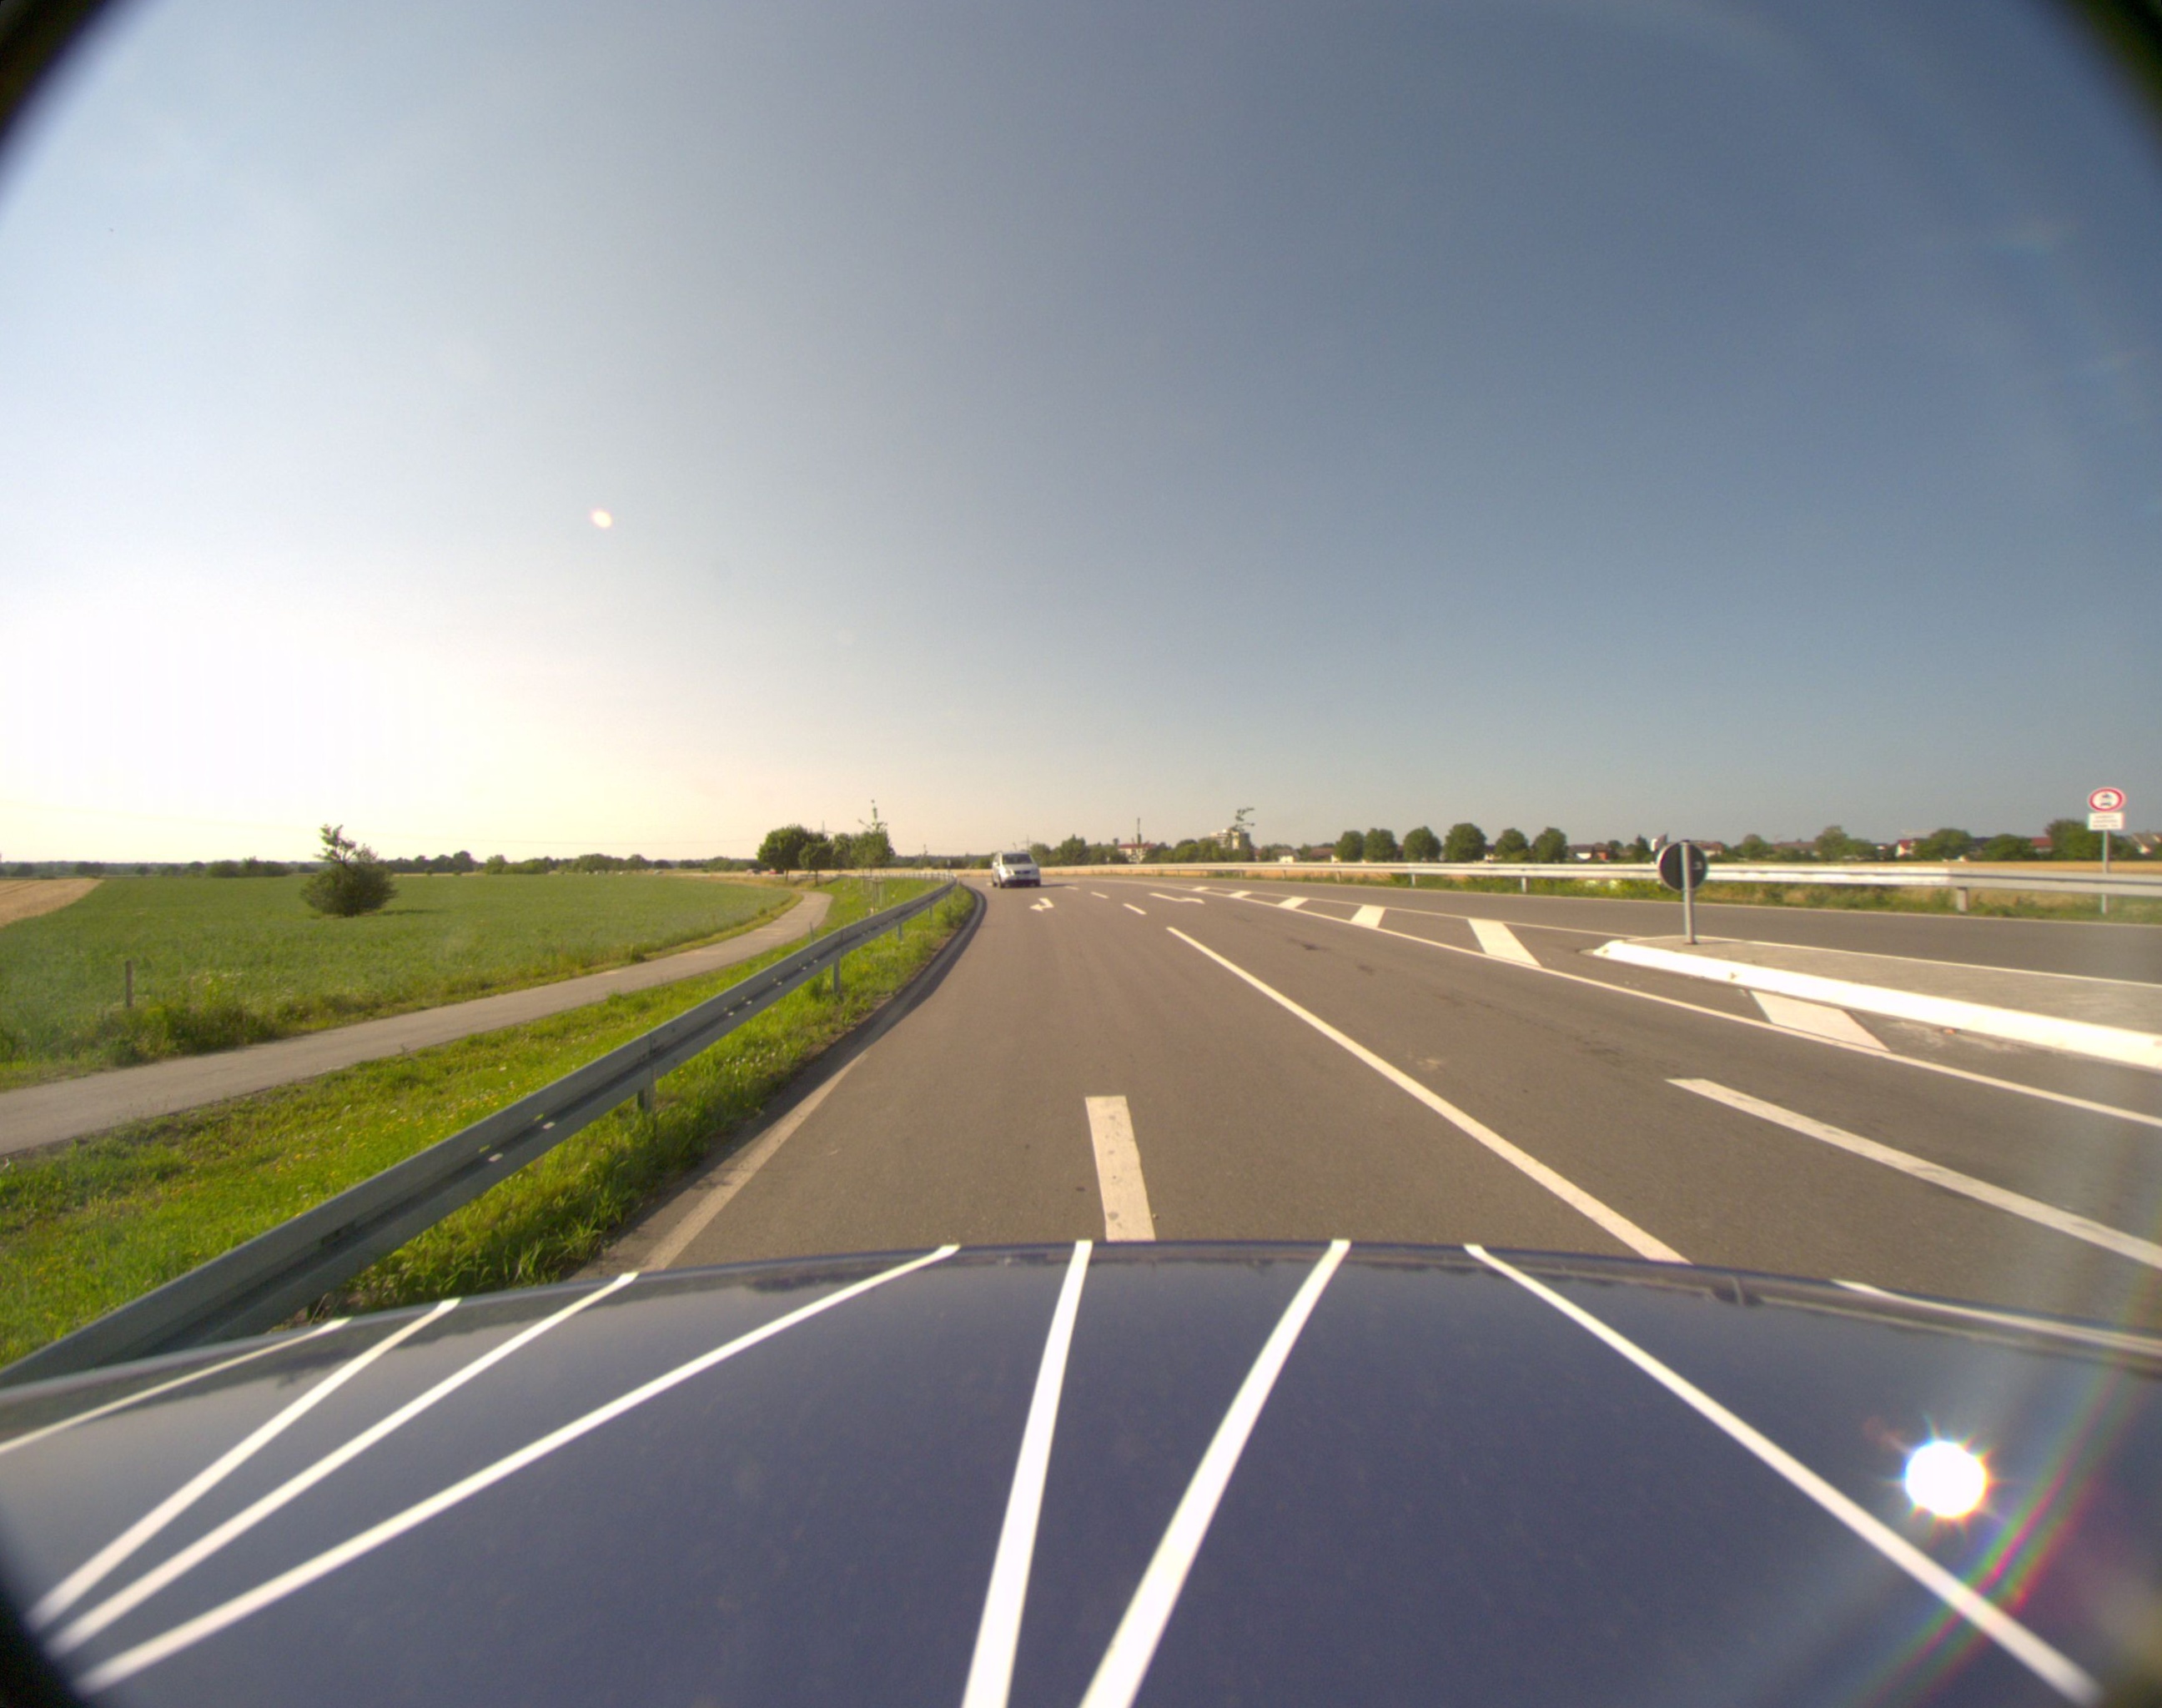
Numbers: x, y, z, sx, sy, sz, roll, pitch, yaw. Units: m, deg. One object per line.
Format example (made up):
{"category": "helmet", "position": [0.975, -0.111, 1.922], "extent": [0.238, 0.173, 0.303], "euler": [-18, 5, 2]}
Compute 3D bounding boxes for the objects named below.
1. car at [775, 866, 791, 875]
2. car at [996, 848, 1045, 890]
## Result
{"category": "car", "position": [-60.651, 3.372, 154.581], "extent": [1.818, 1.663, 3.989], "euler": [-3, 1, -37]}
{"category": "car", "position": [-2.784, 0.632, 34.353], "extent": [1.756, 1.685, 4.210], "euler": [-3, 1, -10]}
